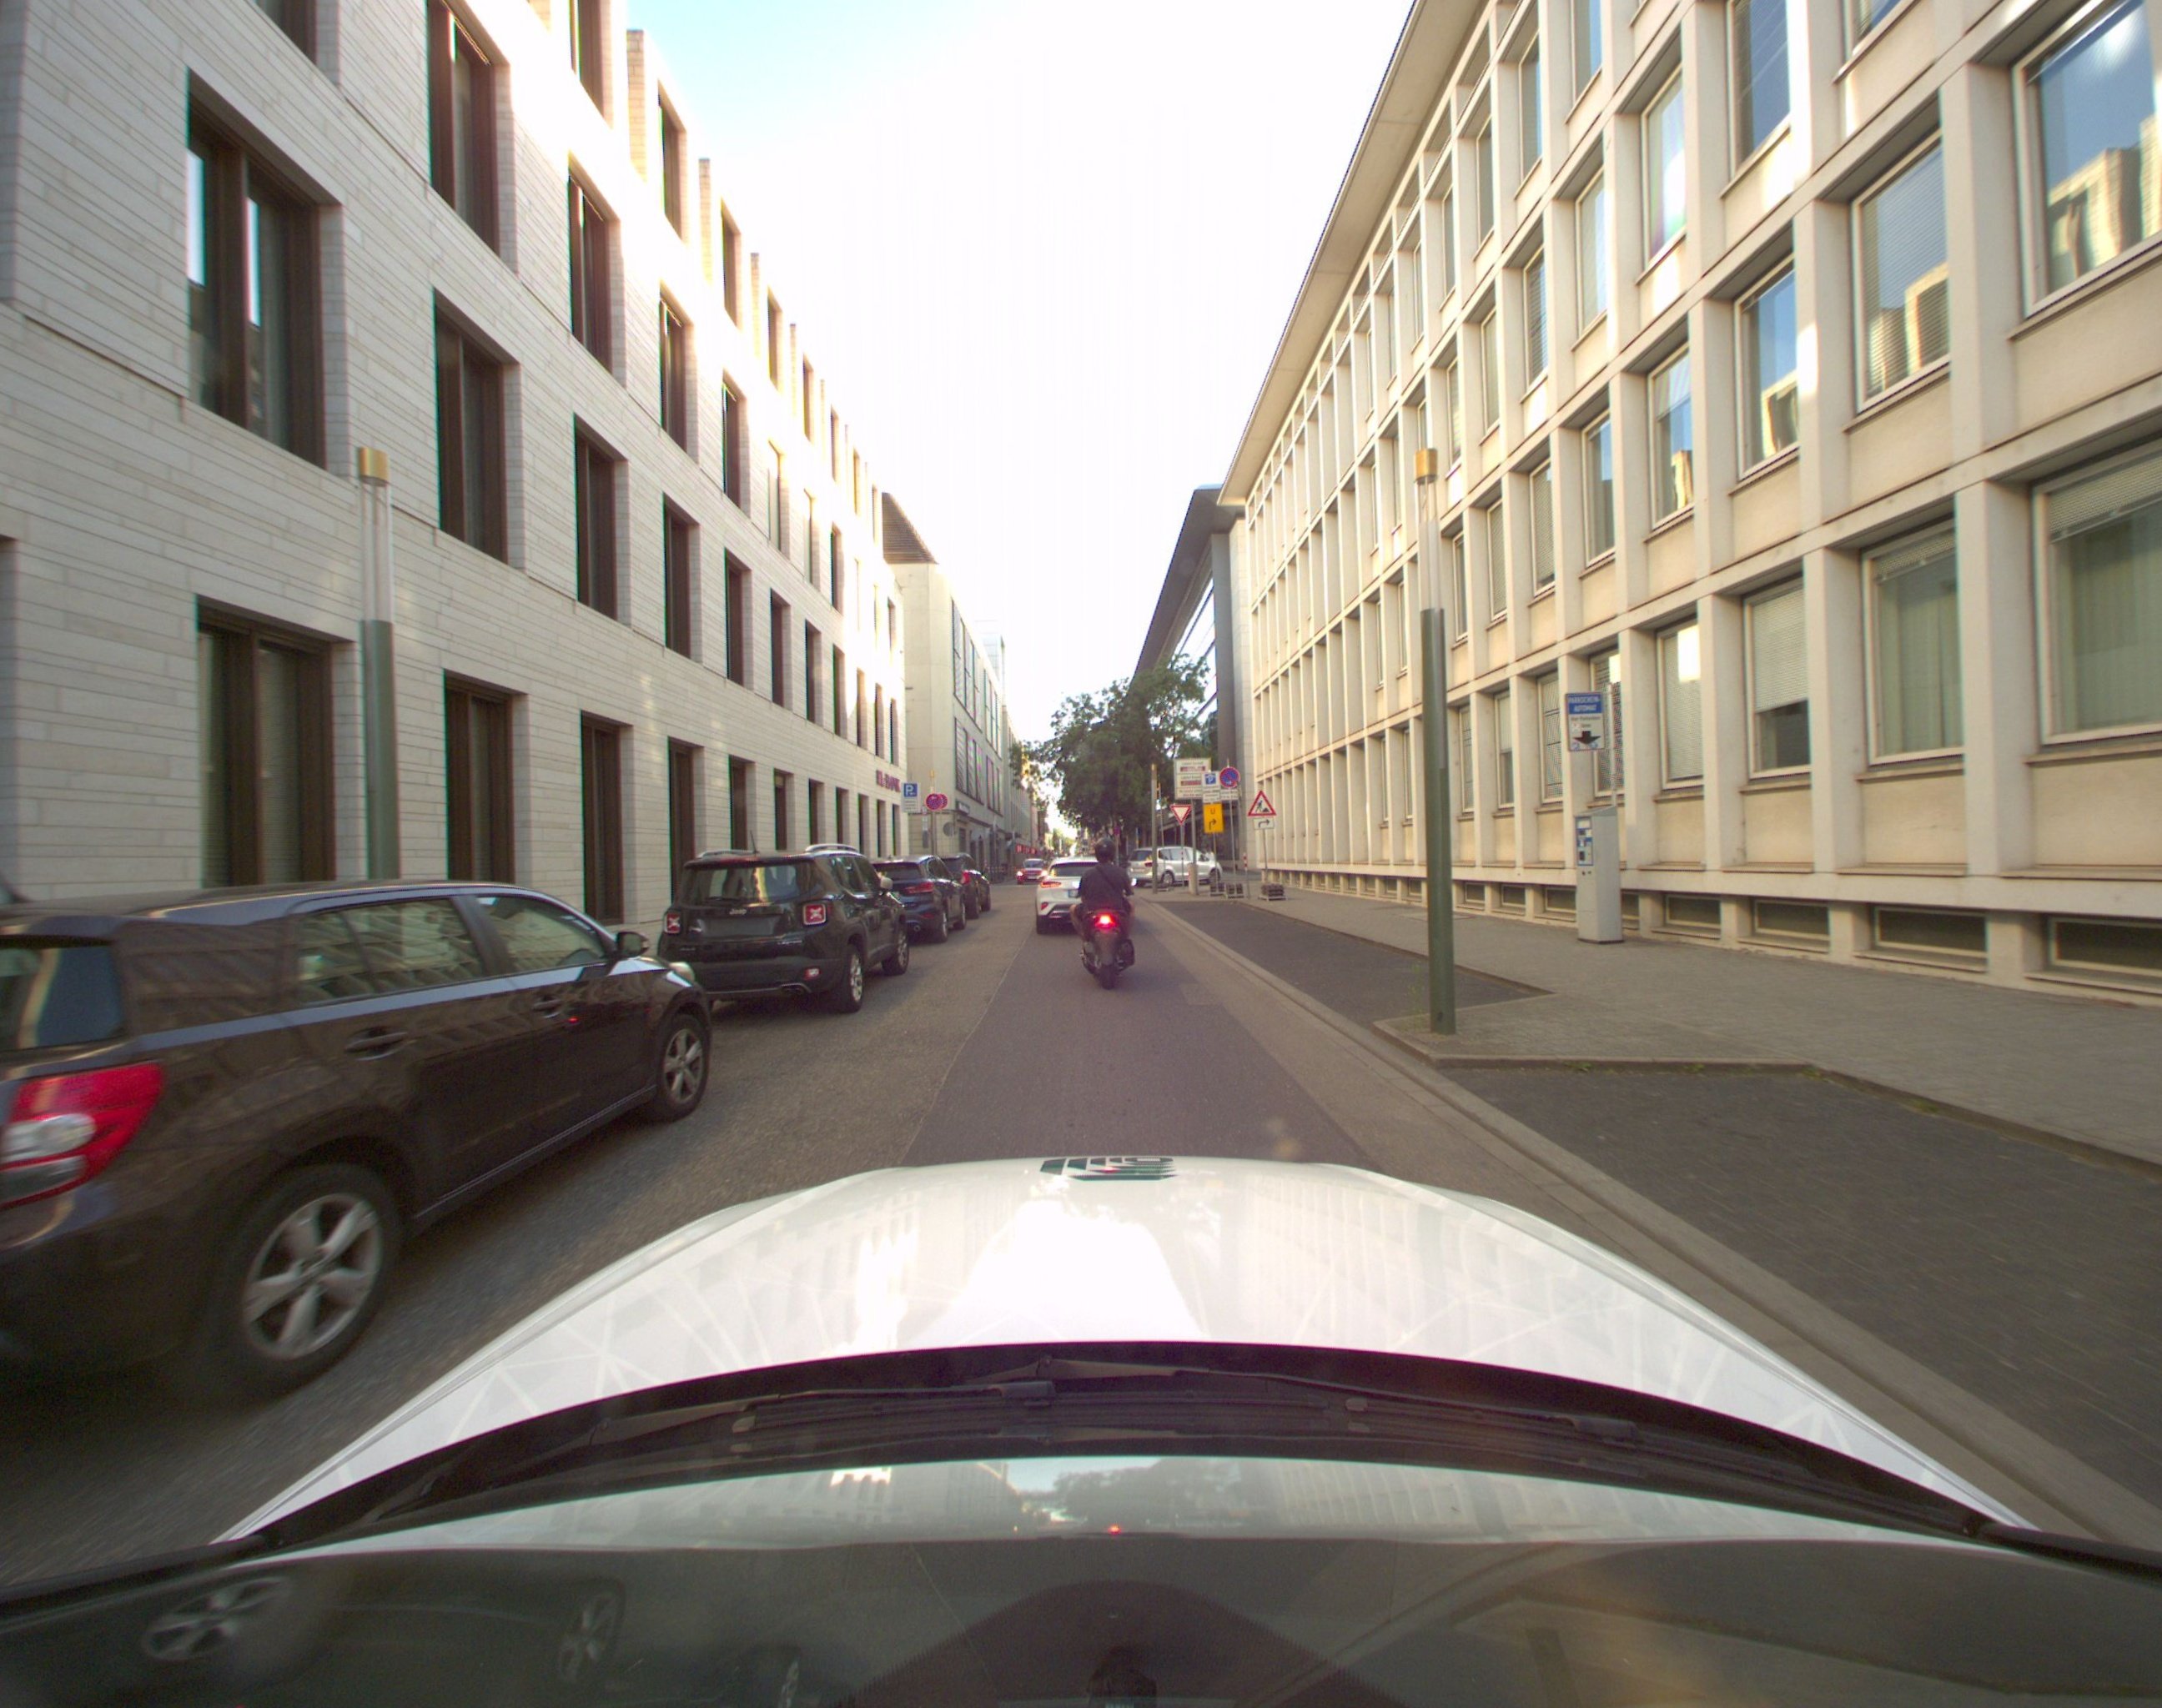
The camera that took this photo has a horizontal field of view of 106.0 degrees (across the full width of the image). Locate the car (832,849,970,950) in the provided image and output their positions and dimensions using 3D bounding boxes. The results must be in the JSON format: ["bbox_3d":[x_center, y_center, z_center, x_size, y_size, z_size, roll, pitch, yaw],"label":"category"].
[{"bbox_3d":[-3.328,0.764,15.855,1.735,1.594,4.151,-4,0,-1],"label":"car"}]

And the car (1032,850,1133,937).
[{"bbox_3d":[-0.021,0.718,17.172,1.817,1.541,4.261,-2,0,-1],"label":"car"}]

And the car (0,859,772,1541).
[{"bbox_3d":[-3.226,0.846,4.007,1.817,1.541,4.261,-2,0,-1],"label":"car"}]

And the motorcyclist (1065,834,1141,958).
[{"bbox_3d":[0.258,0.497,9.754,0.864,1.427,0.455,-1,-1,0],"label":"motorcyclist"}]

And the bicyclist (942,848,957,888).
[{"bbox_3d":[-5.840,0.626,36.093,0.552,1.732,0.498,-1,-1,-22],"label":"bicyclist"}]

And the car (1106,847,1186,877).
[{"bbox_3d":[4.249,0.548,53.786,4.994,1.451,1.998,-6,-1,-3],"label":"car"}]

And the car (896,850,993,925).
[{"bbox_3d":[-3.479,0.784,21.568,1.817,1.677,4.261,-4,0,-1],"label":"car"}]

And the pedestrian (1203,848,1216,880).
[{"bbox_3d":[6.456,0.479,40.843,0.557,1.584,0.598,-1,-1,1],"label":"pedestrian"}]

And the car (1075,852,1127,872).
[{"bbox_3d":[1.982,0.809,81.024,4.994,1.499,1.998,-6,-1,-3],"label":"car"}]

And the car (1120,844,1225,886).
[{"bbox_3d":[3.961,0.432,34.953,4.515,1.645,1.808,-1,2,-38],"label":"car"}]

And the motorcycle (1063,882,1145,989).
[{"bbox_3d":[0.264,0.919,9.768,0.869,1.109,1.839,-1,-1,0],"label":"motorcycle"}]

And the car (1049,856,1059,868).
[{"bbox_3d":[-5.528,1.616,166.551,1.989,2.329,5.015,0,0,-3],"label":"car"}]

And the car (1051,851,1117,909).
[{"bbox_3d":[0.041,0.745,25.690,1.817,1.541,4.362,-4,0,-1],"label":"car"}]

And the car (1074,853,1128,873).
[{"bbox_3d":[1.869,0.877,78.551,4.994,1.499,1.998,-6,-1,-3],"label":"car"}]

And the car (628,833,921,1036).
[{"bbox_3d":[-3.172,0.721,9.396,1.817,1.714,4.015,-4,0,-1],"label":"car"}]

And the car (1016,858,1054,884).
[{"bbox_3d":[-2.707,1.045,48.746,1.816,1.465,4.264,-2,-2,2],"label":"car"}]
